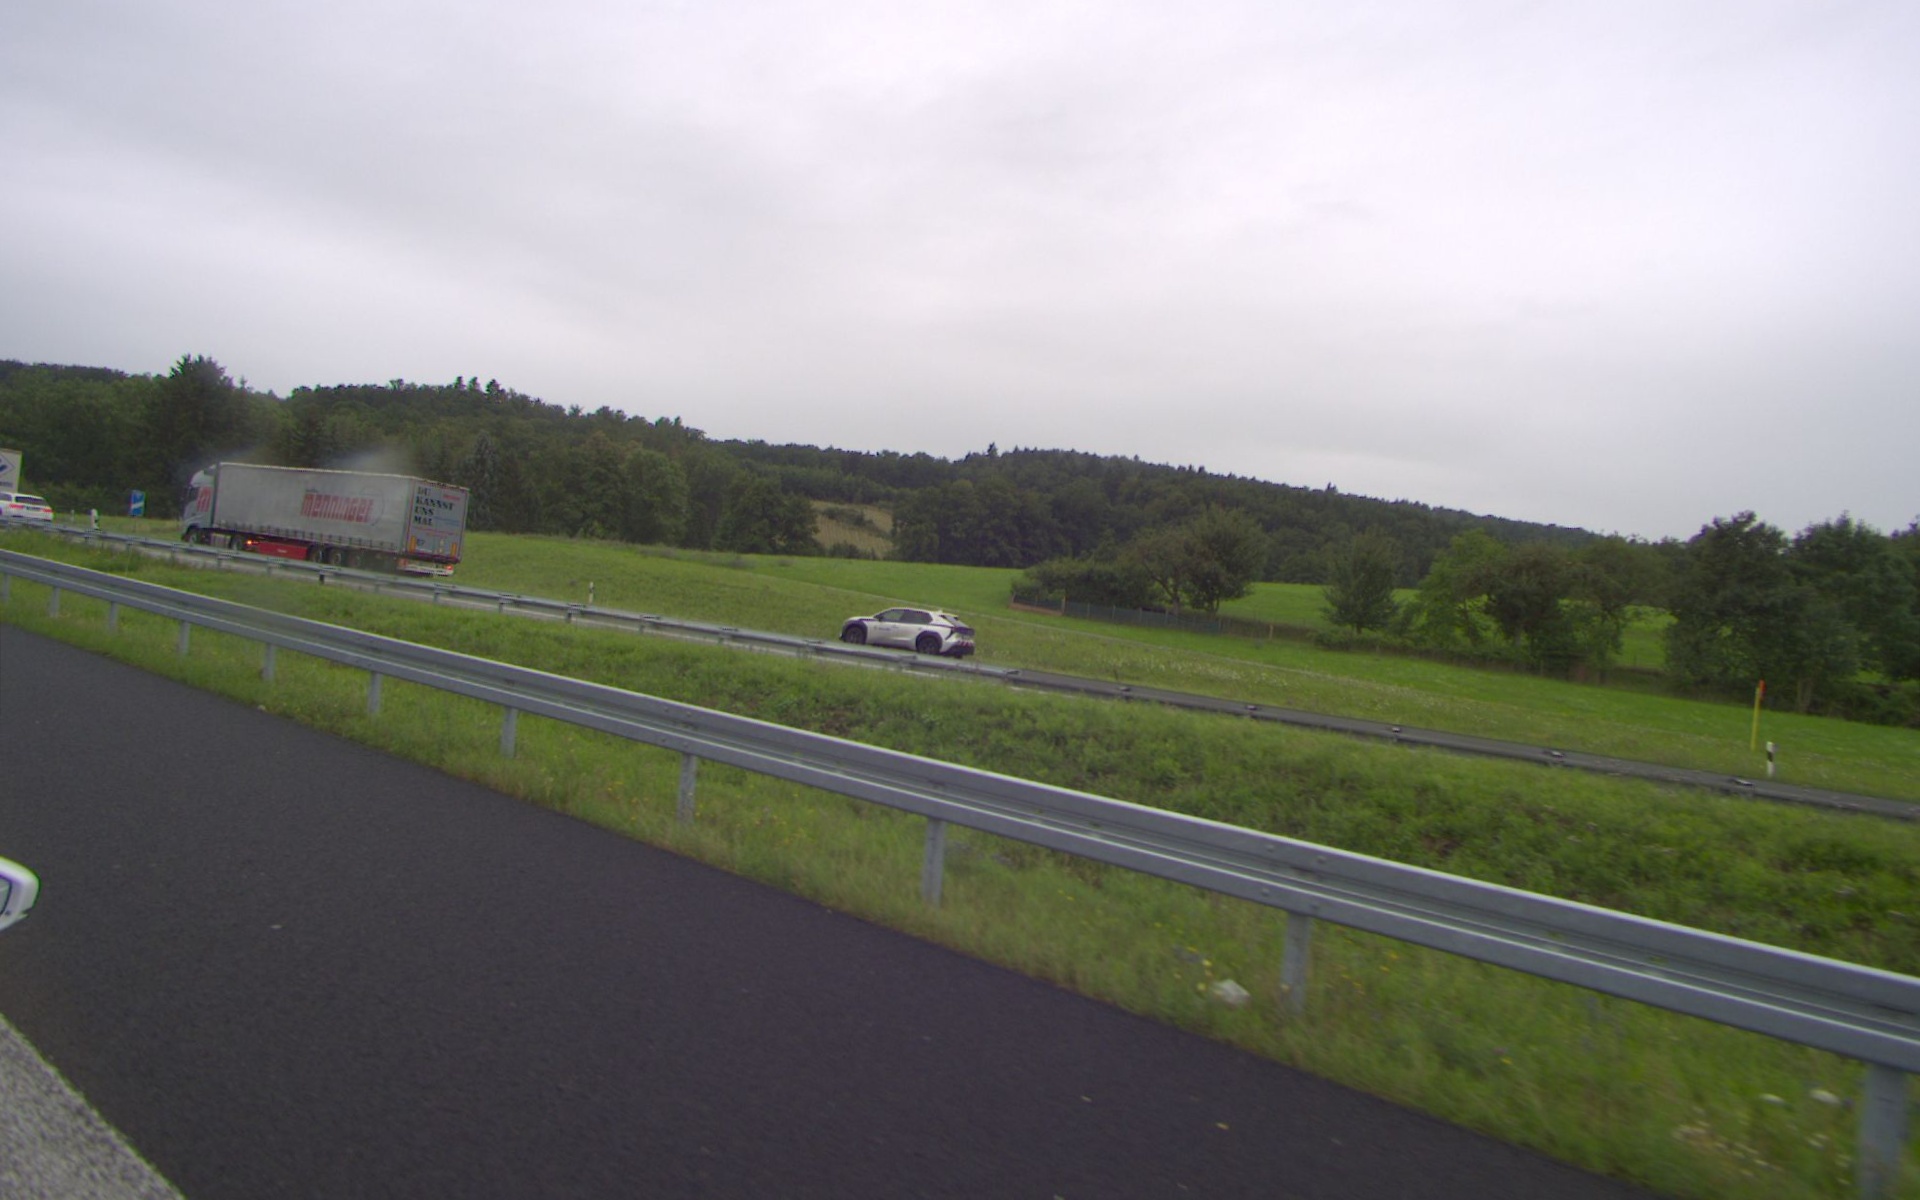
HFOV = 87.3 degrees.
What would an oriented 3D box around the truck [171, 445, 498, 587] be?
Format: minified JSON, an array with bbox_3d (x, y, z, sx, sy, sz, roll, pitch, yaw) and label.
[{"bbox_3d":[-27.472,-3.782,43.634,16.590,4.595,3.830,7,-1,28],"label":"truck"}]

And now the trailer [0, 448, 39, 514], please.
[{"bbox_3d":[-60.234,-7.569,61.276,7.941,3.567,3.088,7,-2,26],"label":"trailer"}]

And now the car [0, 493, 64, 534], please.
[{"bbox_3d":[-46.055,-4.311,48.835,4.989,1.636,1.999,7,-1,26],"label":"car"}]

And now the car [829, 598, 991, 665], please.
[{"bbox_3d":[-1.658,1.012,32.978,4.943,1.522,1.824,7,-1,27],"label":"car"}]
